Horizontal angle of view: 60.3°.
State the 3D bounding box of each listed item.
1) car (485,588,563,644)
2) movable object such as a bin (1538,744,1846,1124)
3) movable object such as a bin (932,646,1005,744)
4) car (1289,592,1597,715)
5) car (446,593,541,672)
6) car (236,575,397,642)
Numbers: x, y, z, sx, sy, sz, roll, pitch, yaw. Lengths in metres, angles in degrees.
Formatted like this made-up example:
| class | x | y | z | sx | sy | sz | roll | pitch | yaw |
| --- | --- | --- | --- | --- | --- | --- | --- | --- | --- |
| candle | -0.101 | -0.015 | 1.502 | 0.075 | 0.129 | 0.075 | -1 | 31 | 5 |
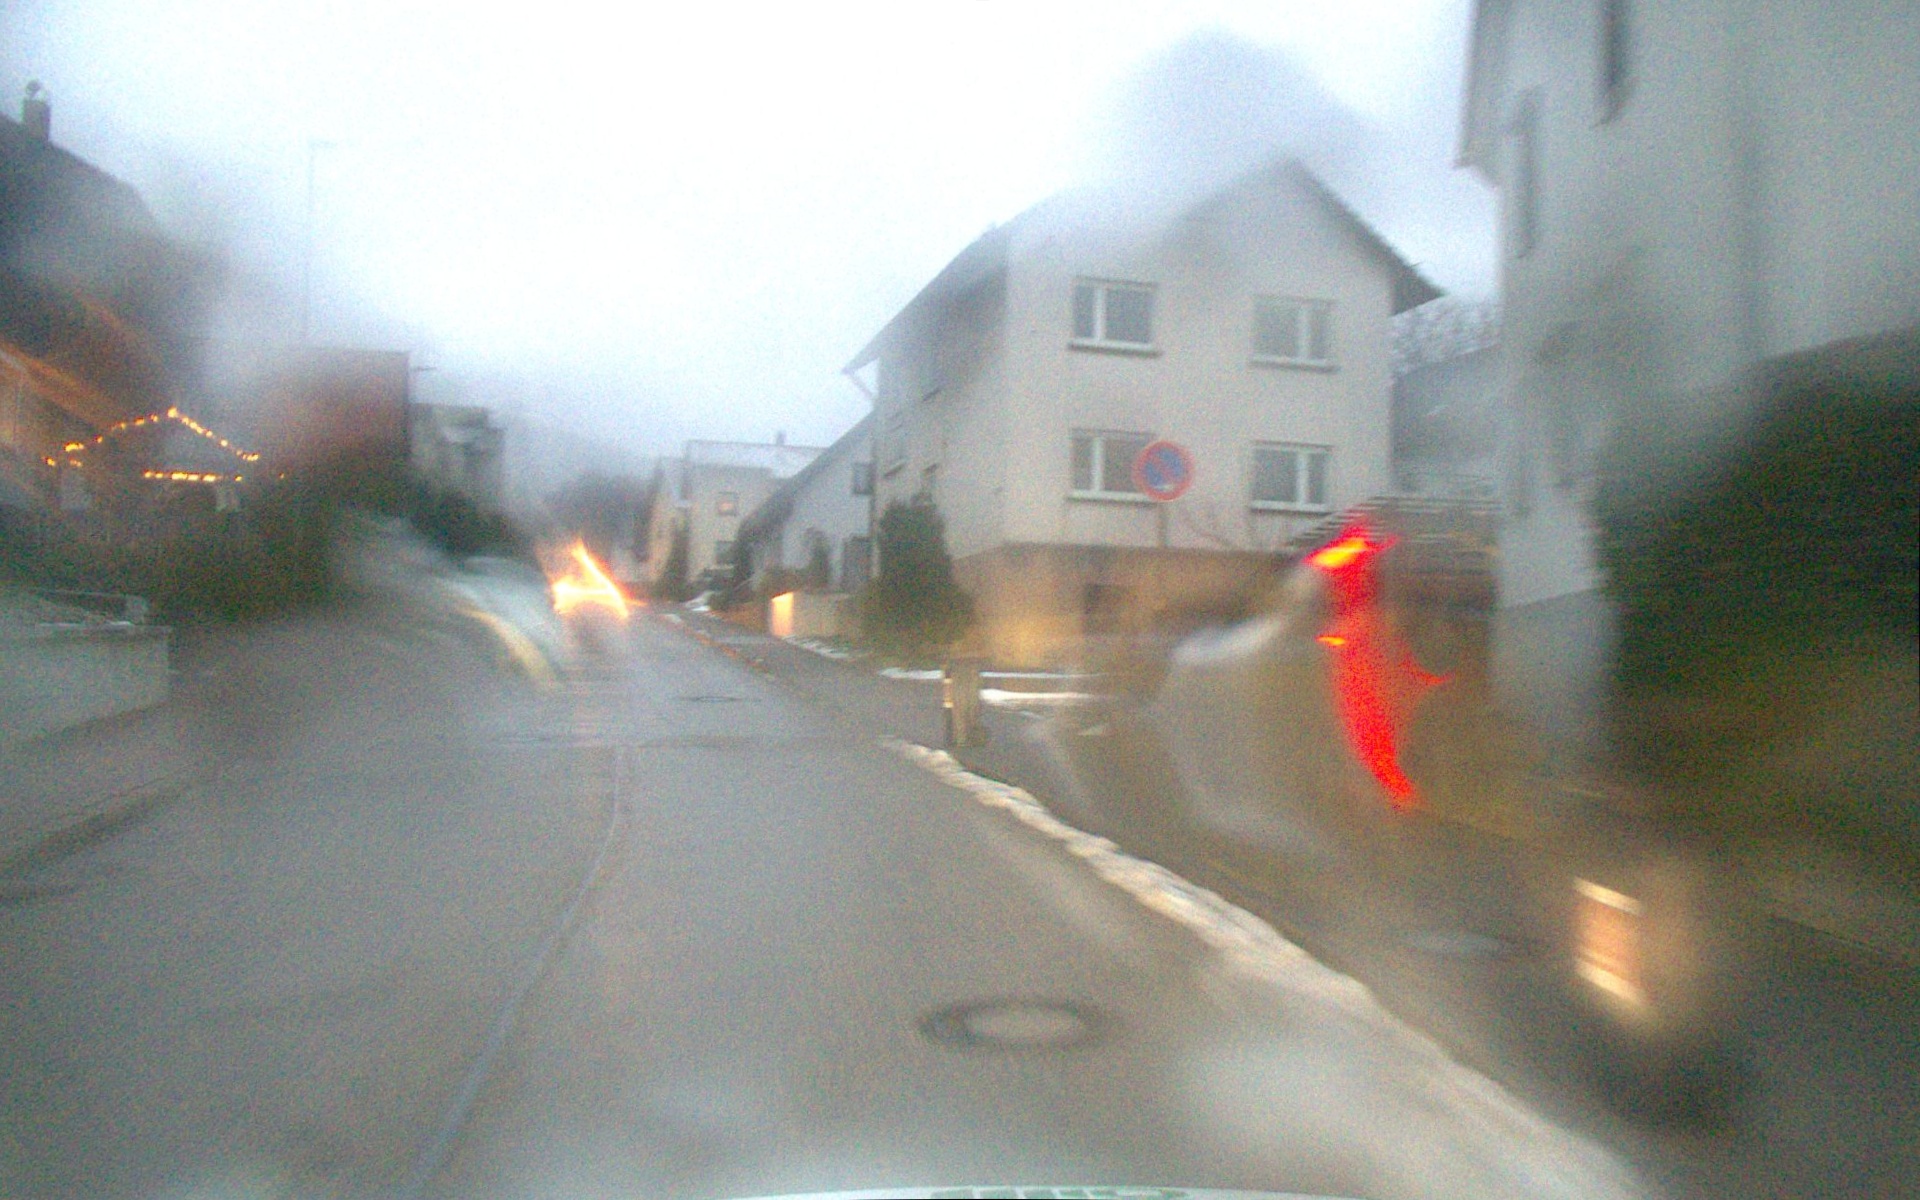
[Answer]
| class | x | y | z | sx | sy | sz | roll | pitch | yaw |
| --- | --- | --- | --- | --- | --- | --- | --- | --- | --- |
| car | -11.627 | 0.401 | 44.358 | 1.845 | 1.419 | 5.058 | 0 | 0 | -13 |
| movable object such as a bin | 2.100 | 0.931 | 4.809 | 0.527 | 0.954 | 0.688 | 1 | 0 | -8 |
| movable object such as a bin | 0.080 | 0.950 | 16.645 | 0.625 | 0.933 | 0.684 | 1 | 0 | -8 |
| car | 7.111 | 0.774 | 24.598 | 3.912 | 1.646 | 1.997 | 2 | 1 | -8 |
| car | -9.118 | 0.600 | 32.509 | 1.590 | 1.463 | 3.644 | 0 | 0 | -13 |
| car | -16.088 | 0.205 | 41.480 | 3.400 | 1.555 | 1.770 | 2 | 0 | -9 |
